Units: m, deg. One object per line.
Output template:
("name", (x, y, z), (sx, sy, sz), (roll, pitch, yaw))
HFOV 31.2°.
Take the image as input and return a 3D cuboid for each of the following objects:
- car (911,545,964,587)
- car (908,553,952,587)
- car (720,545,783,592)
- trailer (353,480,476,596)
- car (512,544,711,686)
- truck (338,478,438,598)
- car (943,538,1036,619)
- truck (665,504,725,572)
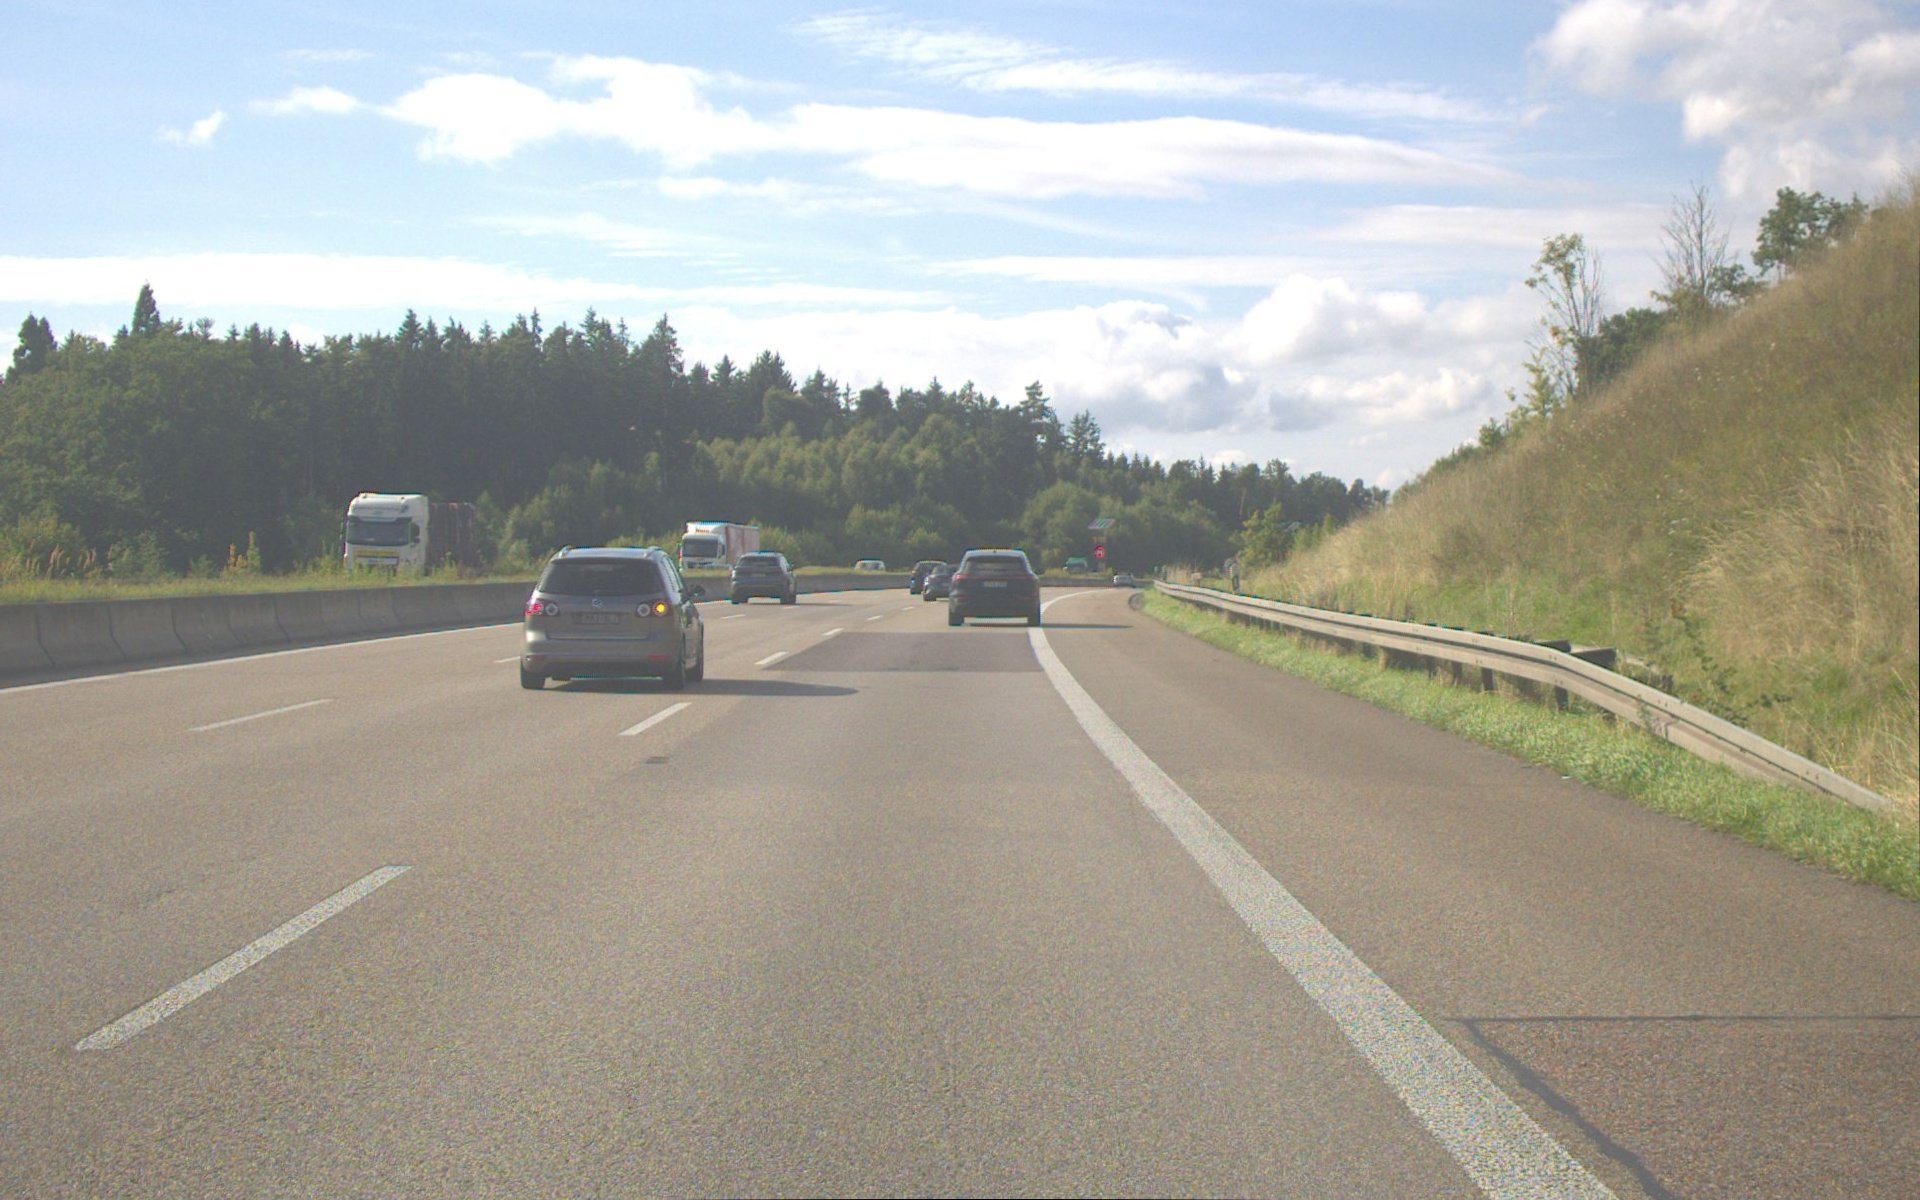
("car", (-0.807, -1.226, 123.454), (1.873, 1.492, 3.880), (0, 1, -1))
("car", (-1.341, -1.370, 155.782), (1.873, 1.492, 3.880), (0, 1, 1))
("car", (-6.707, -1.025, 110.897), (1.873, 1.492, 3.880), (0, 1, -1))
("trailer", (-21.430, -2.432, 135.797), (2.802, 4.377, 12.050), (0, 1, 1))
("car", (-3.835, 0.129, 38.388), (1.873, 1.492, 3.880), (0, 1, -1))
("truck", (-21.500, -2.326, 129.442), (2.802, 4.377, 5.464), (0, 1, 1))
("car", (0.603, -0.475, 73.613), (1.873, 1.669, 3.890), (0, 1, -1))
("truck", (-16.264, -3.816, 211.369), (3.024, 4.094, 5.668), (0, 1, 2))
